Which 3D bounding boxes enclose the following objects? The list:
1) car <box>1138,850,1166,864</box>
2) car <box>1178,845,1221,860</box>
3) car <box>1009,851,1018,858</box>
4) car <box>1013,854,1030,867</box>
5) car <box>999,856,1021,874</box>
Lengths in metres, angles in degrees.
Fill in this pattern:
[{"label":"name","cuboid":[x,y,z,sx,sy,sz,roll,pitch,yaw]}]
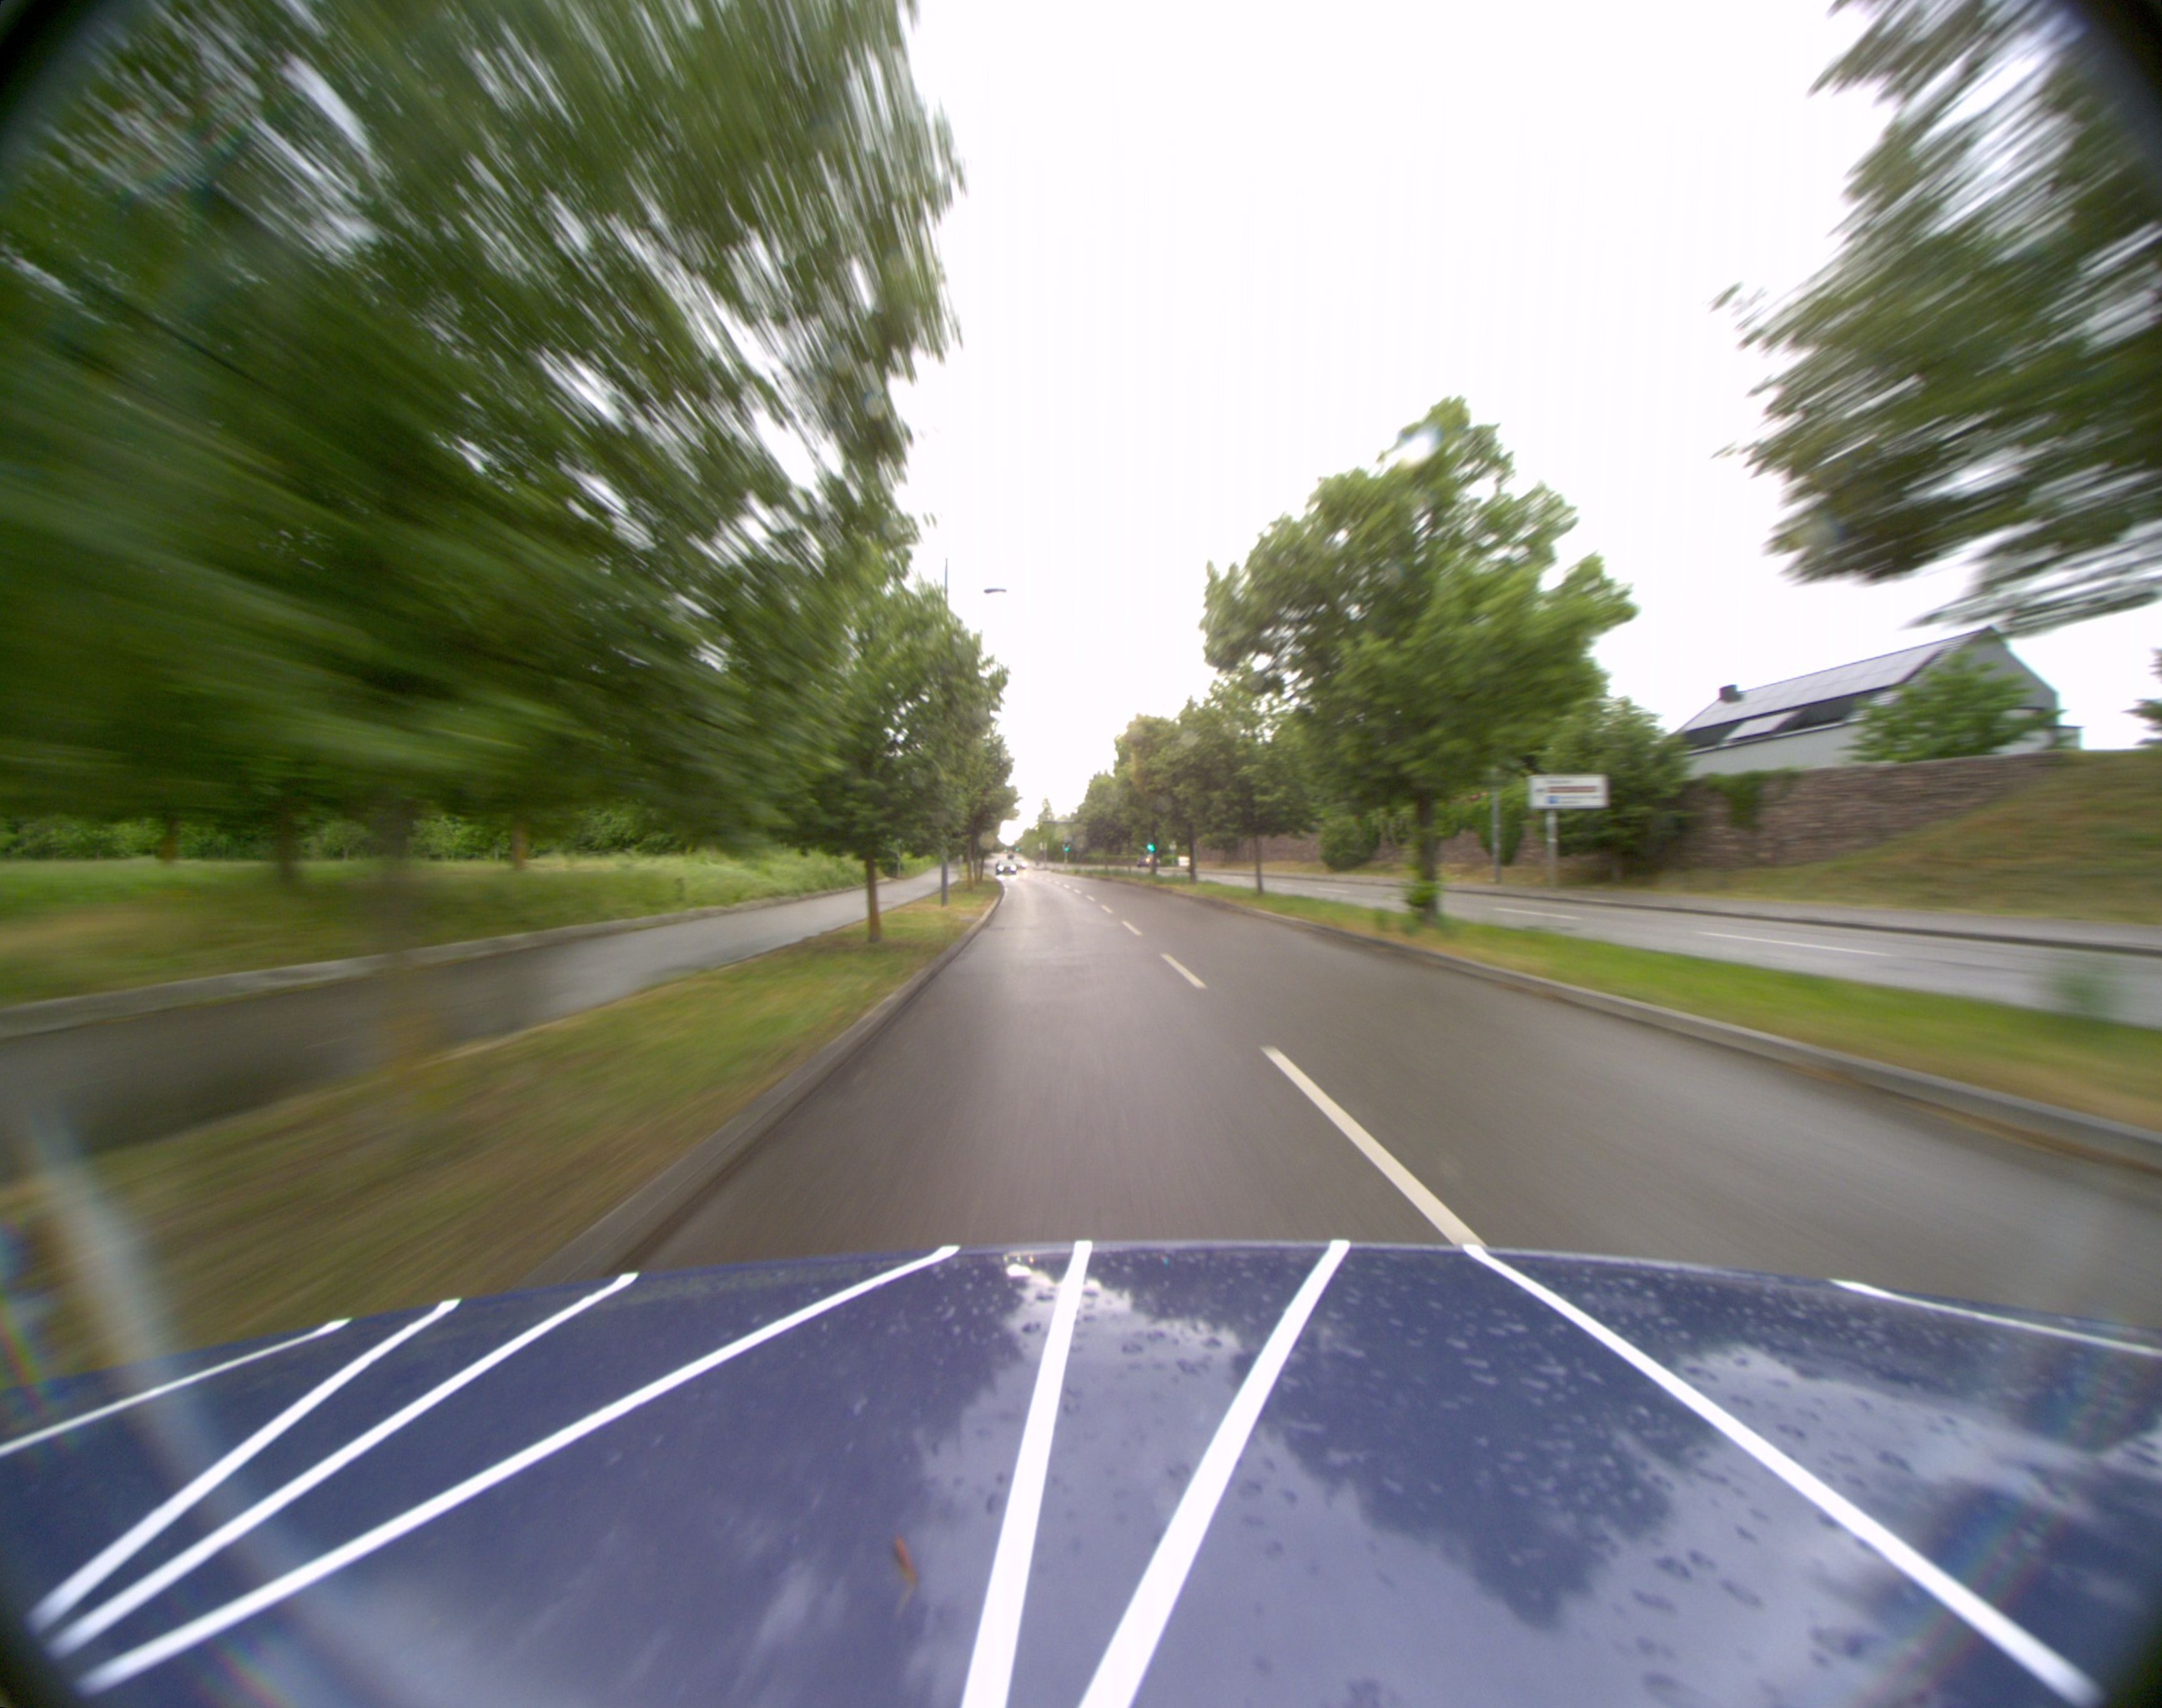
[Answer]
[{"label":"car","cuboid":[8.337,0.360,89.253,2.922,1.530,1.687,-1,0,-43]},{"label":"car","cuboid":[14.388,-0.185,92.505,4.768,1.586,1.885,-2,1,-12]},{"label":"car","cuboid":[-18.610,0.016,208.609,2.020,1.908,5.091,-1,1,-8]},{"label":"car","cuboid":[-7.541,0.837,96.160,1.826,1.547,3.996,-1,1,-9]},{"label":"car","cuboid":[-6.810,1.015,72.589,1.826,1.547,3.996,-1,1,-9]}]
